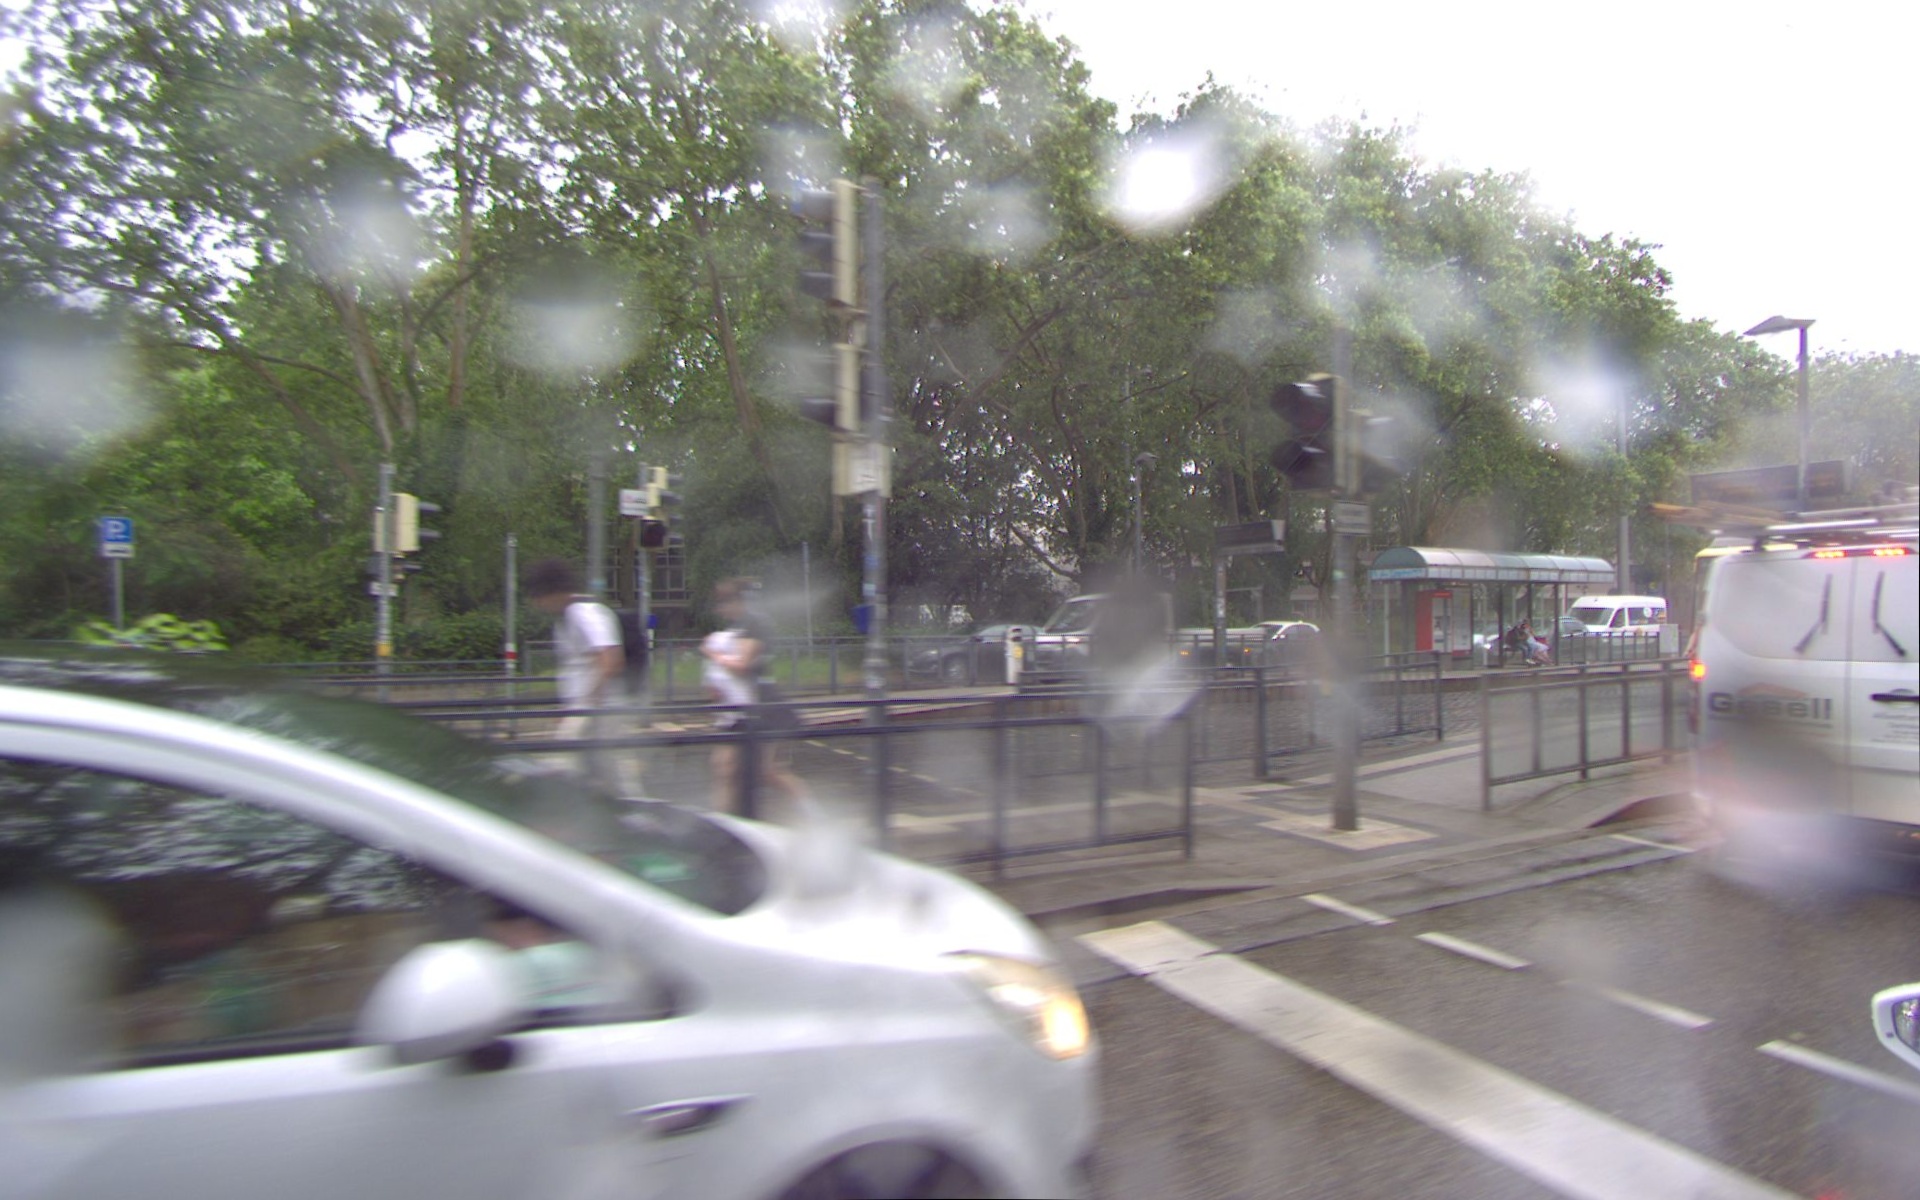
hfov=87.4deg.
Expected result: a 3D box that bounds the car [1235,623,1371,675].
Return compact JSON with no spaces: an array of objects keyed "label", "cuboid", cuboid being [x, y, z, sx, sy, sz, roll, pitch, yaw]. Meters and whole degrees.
[{"label":"car","cuboid":[10.821,1.519,31.681,3.952,1.537,1.926,1,-2,-30]}]

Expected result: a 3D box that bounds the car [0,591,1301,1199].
[{"label":"car","cuboid":[-1.363,0.747,1.882,3.759,1.498,1.718,2,-1,-29]}]

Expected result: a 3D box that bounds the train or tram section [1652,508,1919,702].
[{"label":"train or tram section","cuboid":[17.896,0.139,20.567,8.264,3.329,2.947,0,-2,-31]}]

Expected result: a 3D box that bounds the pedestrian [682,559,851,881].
[{"label":"pedestrian","cuboid":[-1.163,0.670,5.998,0.798,1.761,0.674,1,-1,-30]}]

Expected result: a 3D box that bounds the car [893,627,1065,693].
[{"label":"car","cuboid":[0.499,1.474,25.552,3.952,1.537,1.985,1,-2,-30]}]

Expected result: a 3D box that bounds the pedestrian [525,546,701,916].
[{"label":"pedestrian","cuboid":[-1.844,0.636,5.311,0.742,1.768,0.712,1,-1,-30]}]

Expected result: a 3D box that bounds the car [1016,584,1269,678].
[{"label":"car","cuboid":[4.458,0.745,24.118,6.042,2.040,2.174,1,-1,-30]}]

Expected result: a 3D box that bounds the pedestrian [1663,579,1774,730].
[{"label":"pedestrian","cuboid":[9.157,0.637,12.143,0.762,1.737,0.786,2,0,-30]}]

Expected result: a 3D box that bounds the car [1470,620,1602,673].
[{"label":"car","cuboid":[18.617,1.476,32.437,3.952,1.602,1.985,1,-2,-30]}]

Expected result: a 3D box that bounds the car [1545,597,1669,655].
[{"label":"car","cuboid":[26.311,1.035,40.809,5.159,2.253,1.986,1,-1,-28]}]

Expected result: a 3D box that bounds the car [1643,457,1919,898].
[{"label":"car","cuboid":[7.094,0.482,6.831,5.226,2.292,1.984,2,-1,-30]}]
